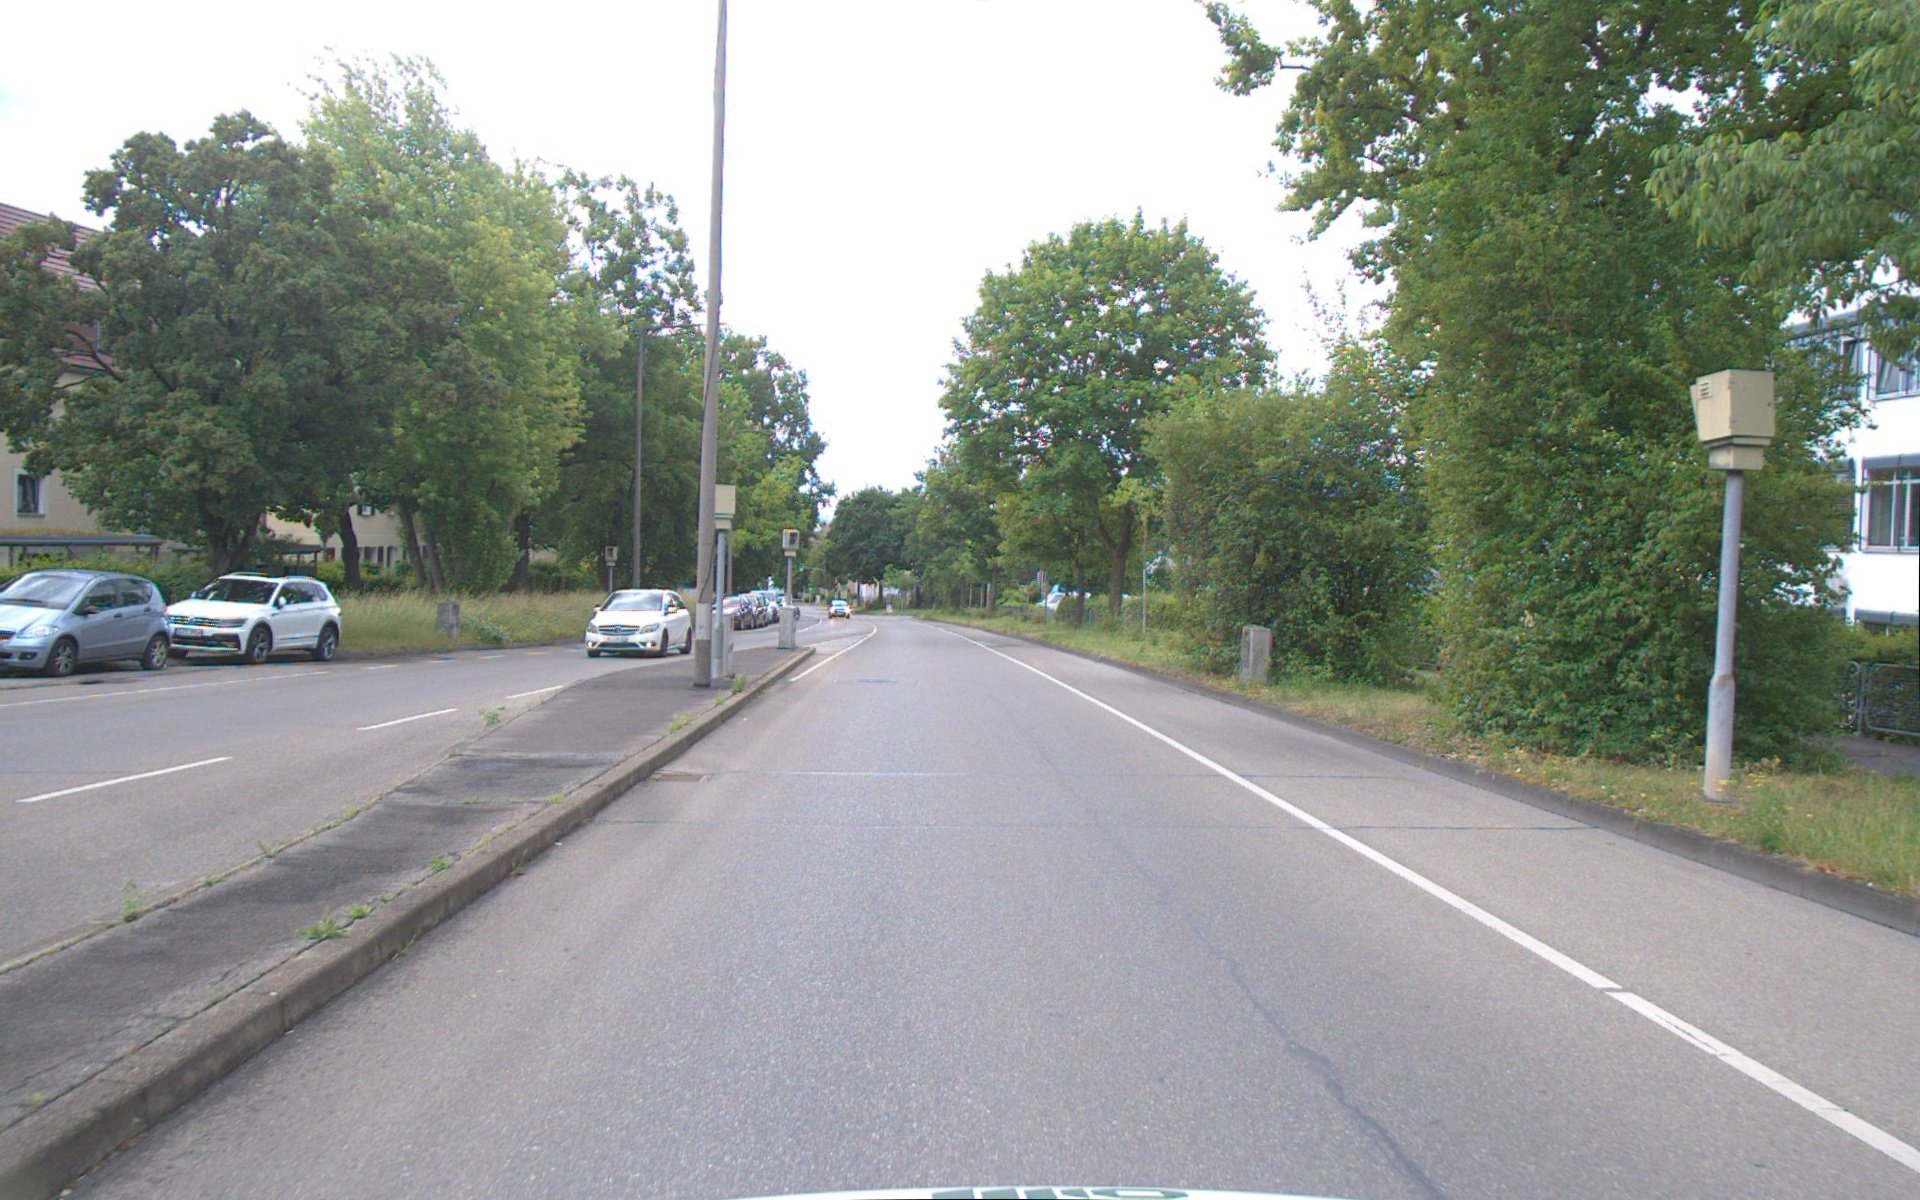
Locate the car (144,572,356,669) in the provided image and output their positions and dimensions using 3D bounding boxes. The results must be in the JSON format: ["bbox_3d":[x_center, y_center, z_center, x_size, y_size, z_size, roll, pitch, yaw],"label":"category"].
[{"bbox_3d":[-13.664,0.366,32.138,1.835,1.696,4.393,2,0,6],"label":"car"}]

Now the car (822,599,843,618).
[{"bbox_3d":[-10.397,0.689,134.976,1.604,1.493,3.998,0,-1,-2],"label":"car"}]

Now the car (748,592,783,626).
[{"bbox_3d":[-11.661,0.513,99.532,1.733,1.964,5.152,2,0,-3],"label":"car"}]

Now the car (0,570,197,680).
[{"bbox_3d":[-14.436,0.397,26.902,1.835,1.624,4.002,2,-1,6],"label":"car"}]

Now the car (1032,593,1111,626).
[{"bbox_3d":[8.866,0.726,131.148,5.941,2.408,2.341,2,-1,-28],"label":"car"}]

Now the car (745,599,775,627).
[{"bbox_3d":[-11.330,0.719,93.576,1.604,1.458,3.944,2,0,-7],"label":"car"}]

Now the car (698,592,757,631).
[{"bbox_3d":[-9.943,0.491,71.019,1.837,1.598,4.650,1,0,0],"label":"car"}]

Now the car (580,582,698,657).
[{"bbox_3d":[-7.421,0.469,38.645,1.837,1.598,4.338,2,-1,0],"label":"car"}]

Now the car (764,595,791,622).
[{"bbox_3d":[-13.802,0.652,125.216,1.830,1.998,5.121,1,0,-5],"label":"car"}]
